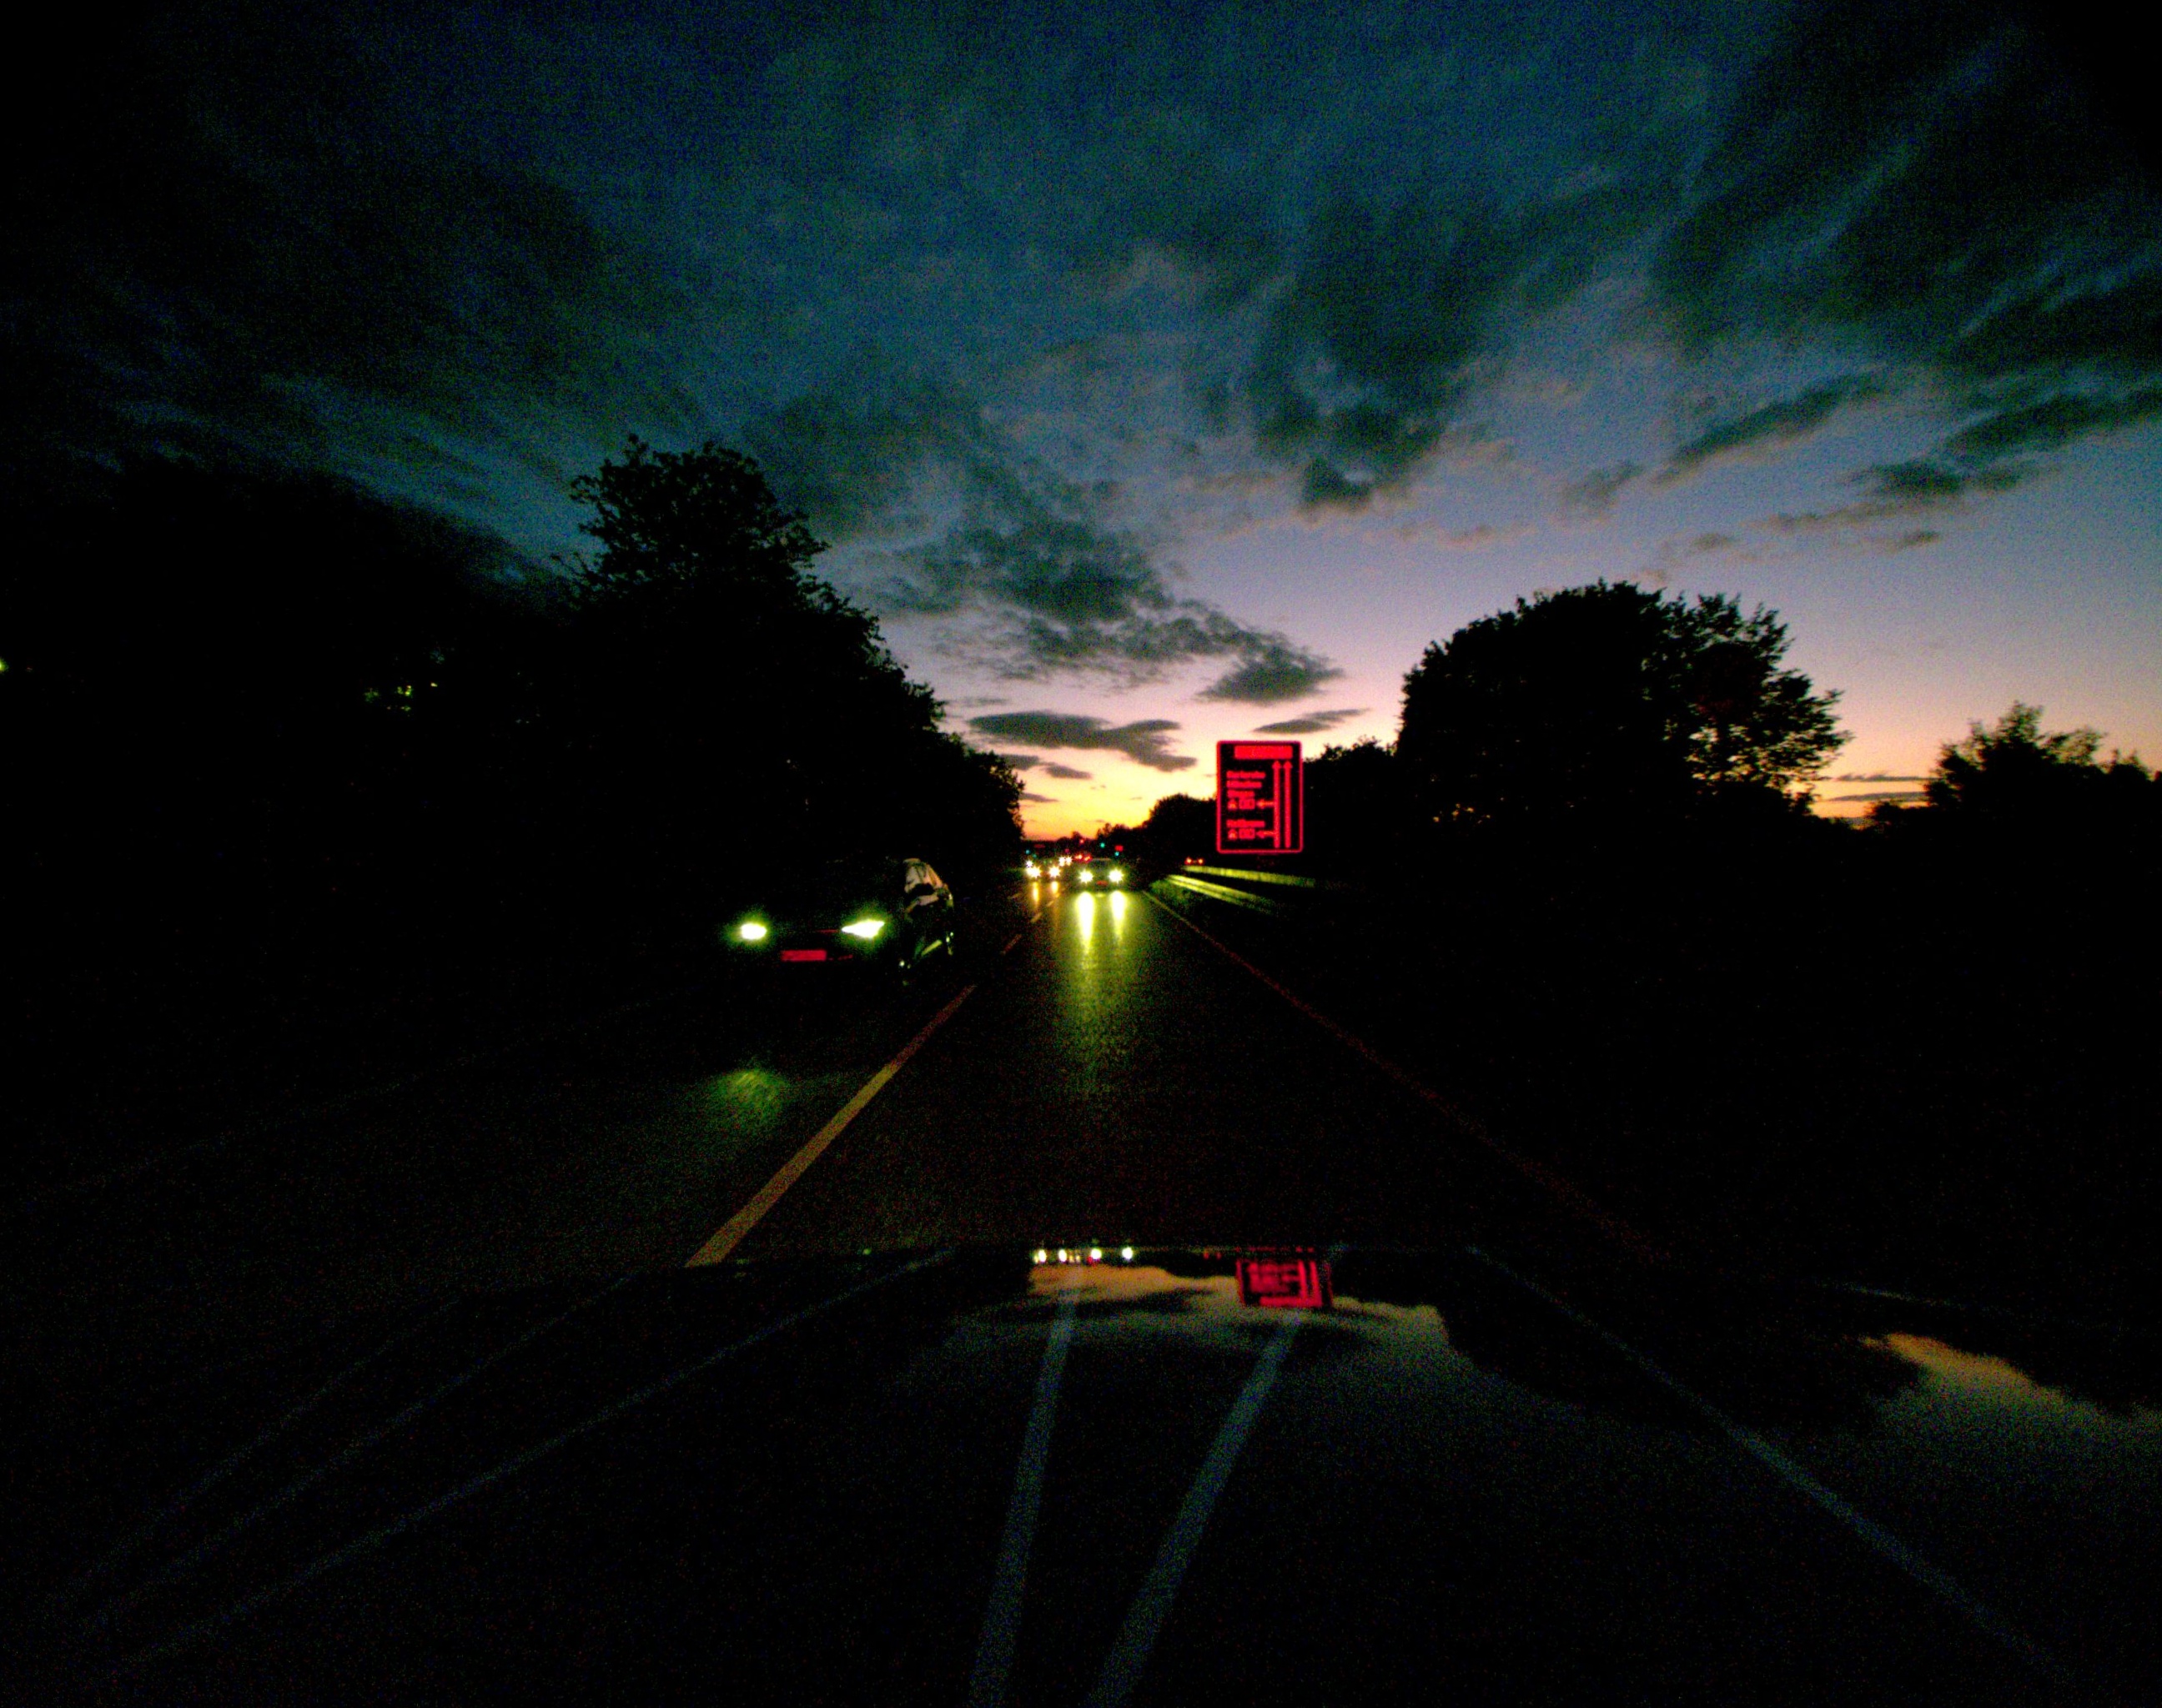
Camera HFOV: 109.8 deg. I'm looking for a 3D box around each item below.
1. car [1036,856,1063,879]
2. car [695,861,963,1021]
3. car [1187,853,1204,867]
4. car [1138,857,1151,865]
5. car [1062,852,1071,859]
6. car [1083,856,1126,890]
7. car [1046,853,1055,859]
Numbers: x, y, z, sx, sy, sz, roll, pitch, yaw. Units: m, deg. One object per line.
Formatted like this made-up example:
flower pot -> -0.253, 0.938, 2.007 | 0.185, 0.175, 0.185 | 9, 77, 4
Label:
car -> -2.163, 0.922, 53.303 | 1.624, 1.460, 3.871 | -2, 0, 1
car -> -3.038, 0.943, 10.414 | 1.998, 1.600, 4.711 | -2, 0, 1
car -> 14.519, 0.753, 96.520 | 1.798, 1.661, 4.503 | -1, 0, 6
car -> 11.536, 1.264, 137.599 | 1.926, 1.423, 4.501 | 1, 0, -1
car -> -3.137, 0.331, 166.660 | 1.999, 1.602, 4.501 | -1, 0, -1
car -> 1.058, 0.872, 36.753 | 1.901, 1.472, 4.514 | -2, 0, 0
car -> -7.400, 0.429, 185.579 | 1.999, 1.423, 4.501 | 1, 0, -1
